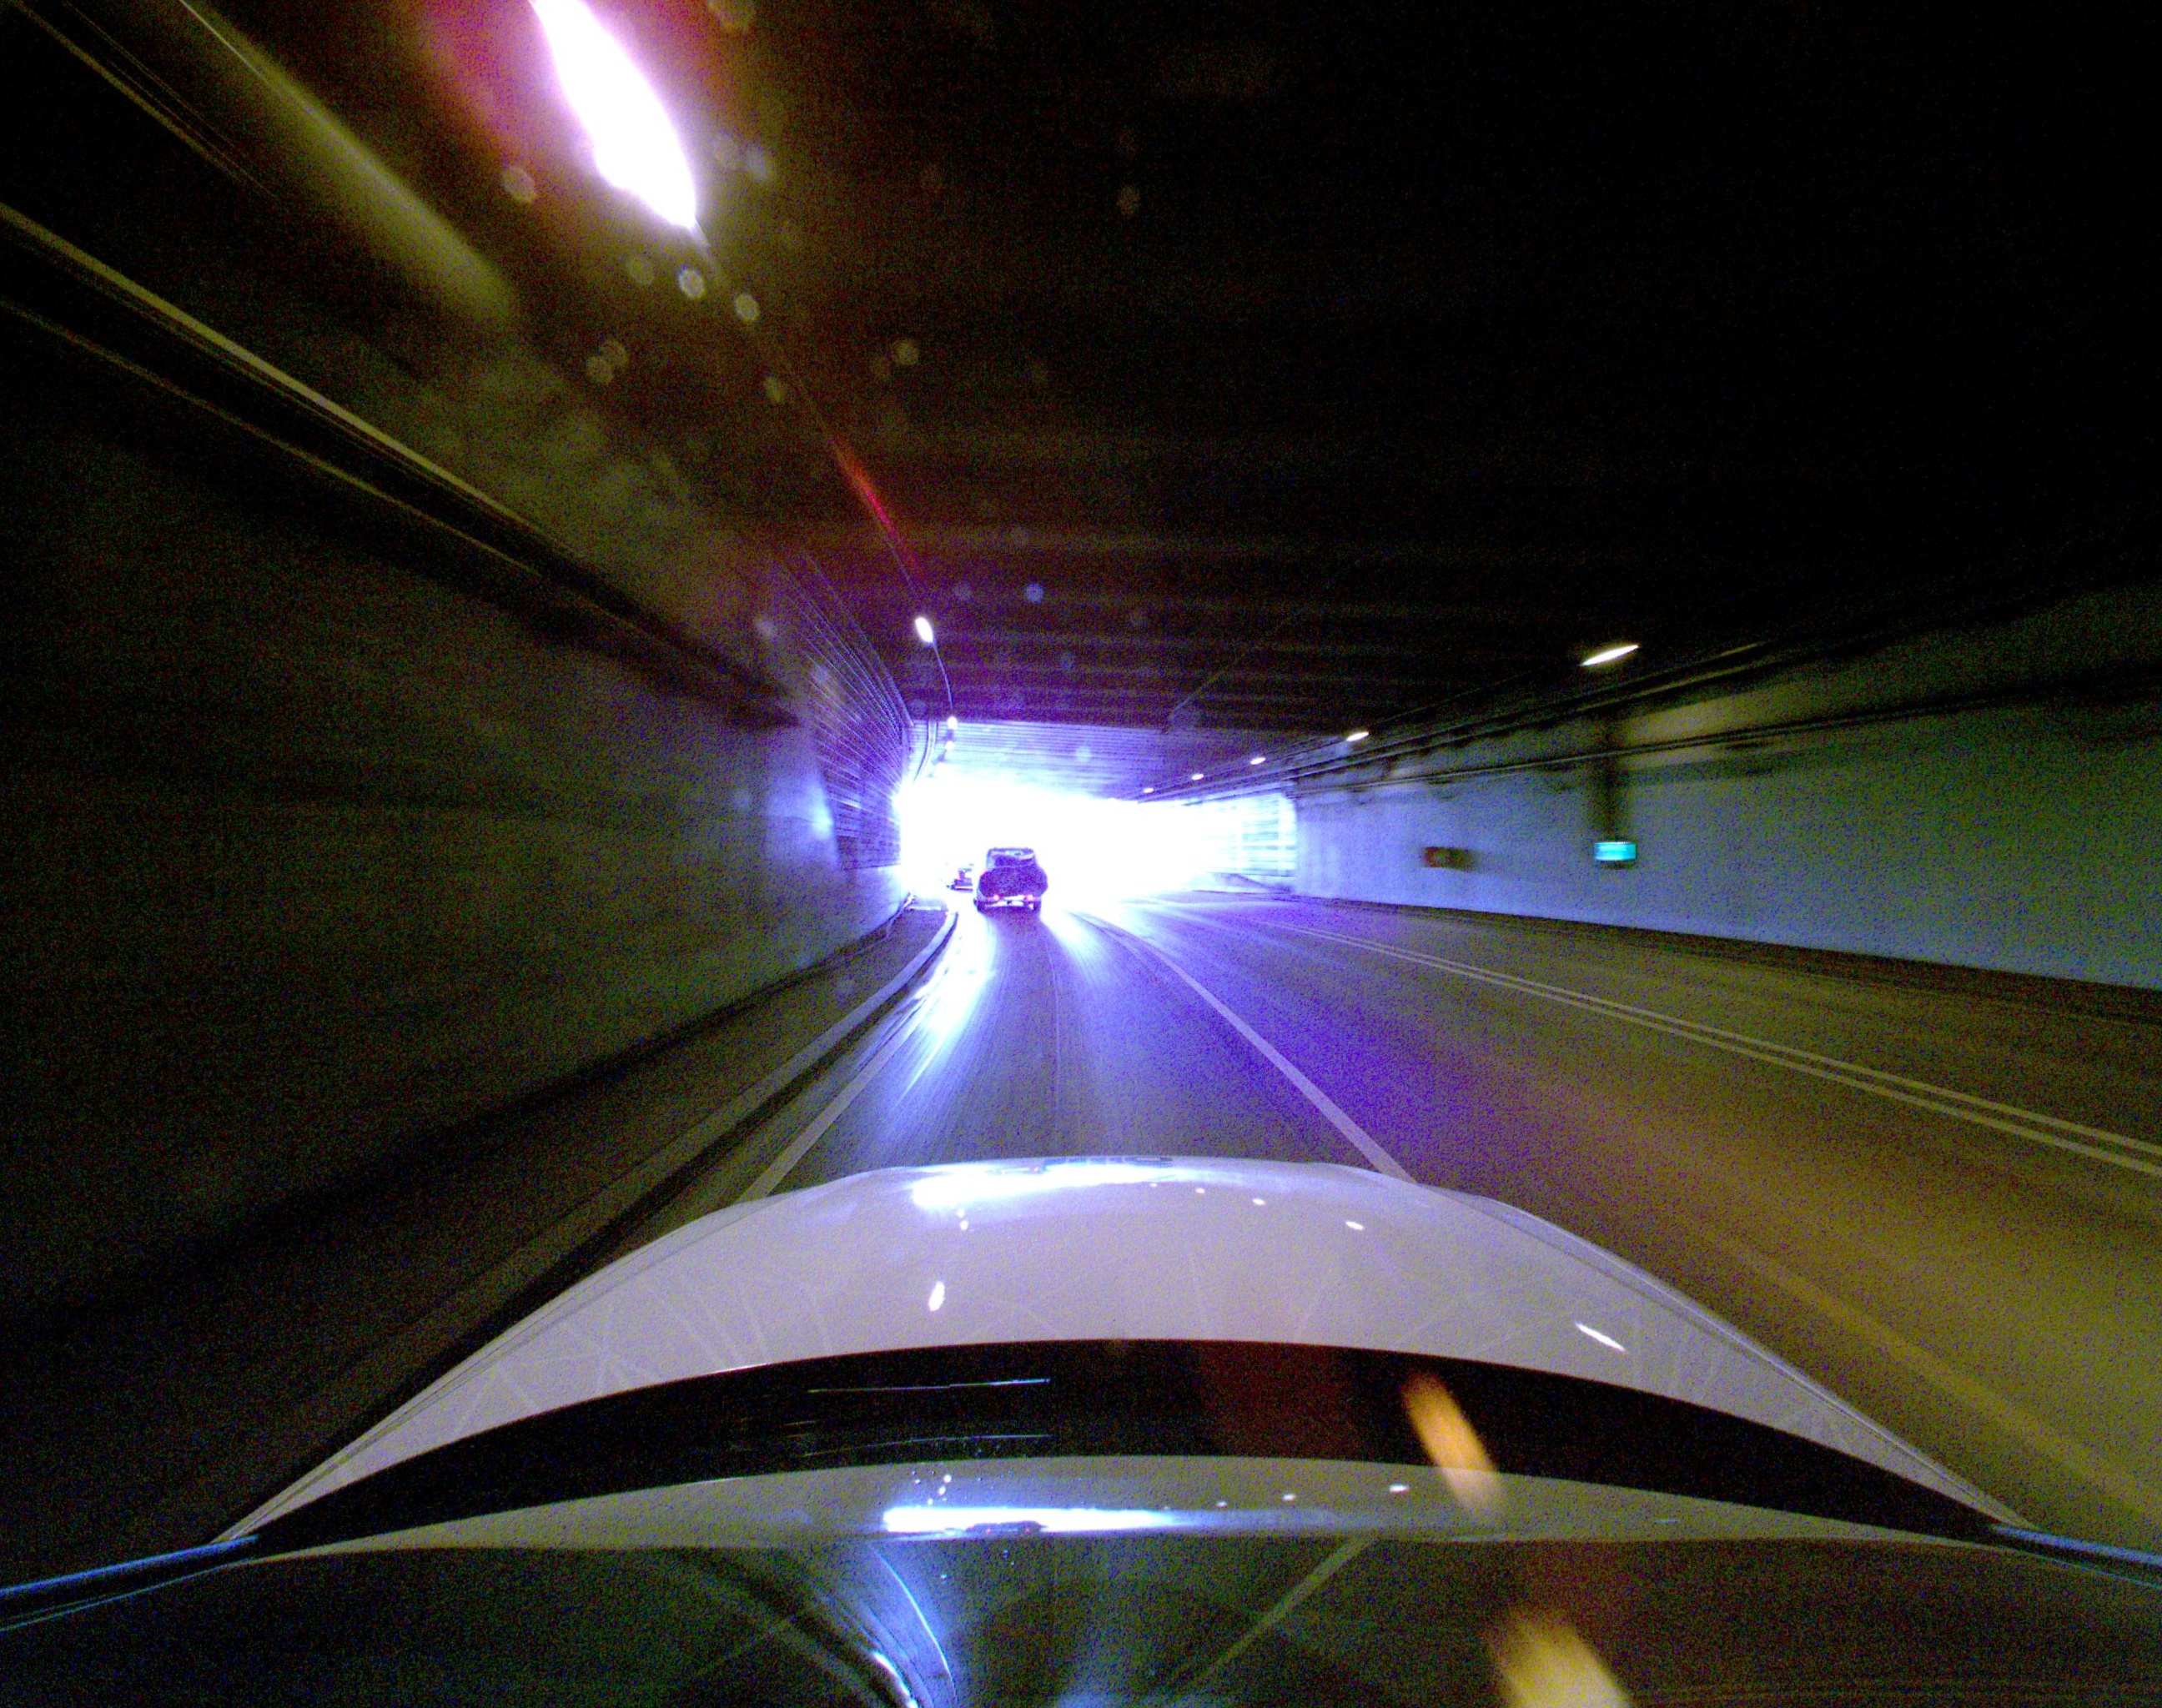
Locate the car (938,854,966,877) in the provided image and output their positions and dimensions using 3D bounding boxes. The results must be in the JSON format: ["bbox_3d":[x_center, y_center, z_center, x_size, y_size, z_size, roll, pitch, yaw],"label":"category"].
[{"bbox_3d":[-9.600,0.848,60.616,1.993,1.664,3.987,0,0,-10],"label":"car"}]

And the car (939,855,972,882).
[{"bbox_3d":[-7.794,0.861,50.459,1.921,1.488,4.051,1,0,-10],"label":"car"}]

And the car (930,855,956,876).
[{"bbox_3d":[-11.451,0.918,67.636,1.993,1.664,3.987,0,0,-10],"label":"car"}]

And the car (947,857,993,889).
[{"bbox_3d":[-5.381,0.873,39.076,1.817,1.434,4.046,0,0,-14],"label":"car"}]

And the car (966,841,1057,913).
[{"bbox_3d":[-2.203,0.608,24.202,1.994,1.859,5.617,-1,0,-12],"label":"car"}]

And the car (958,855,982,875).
[{"bbox_3d":[-9.743,0.934,71.521,1.993,1.664,3.987,0,0,-10],"label":"car"}]
